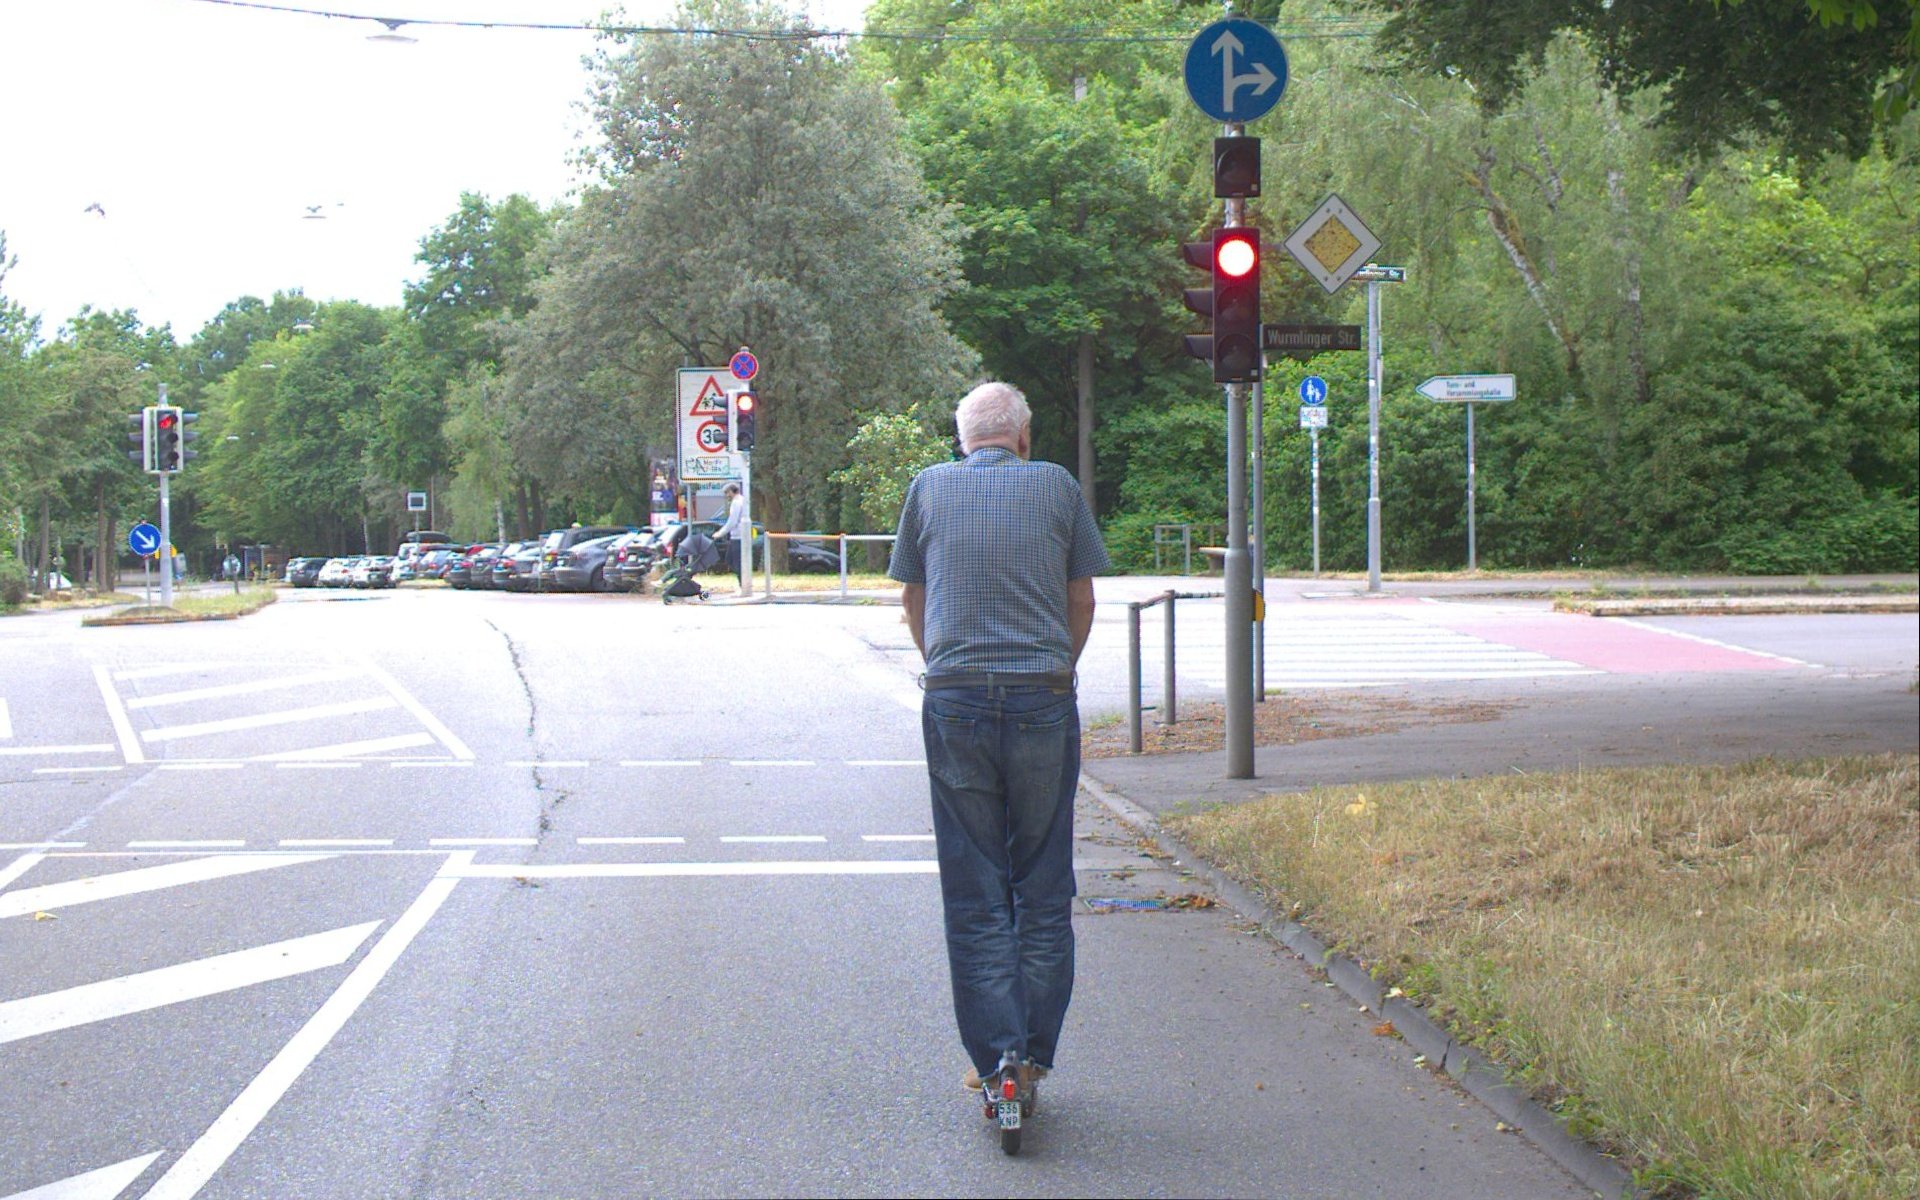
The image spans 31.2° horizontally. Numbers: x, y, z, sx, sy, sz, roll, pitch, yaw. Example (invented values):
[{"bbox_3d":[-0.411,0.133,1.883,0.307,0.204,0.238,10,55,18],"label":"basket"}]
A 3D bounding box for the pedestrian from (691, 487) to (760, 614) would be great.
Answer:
[{"bbox_3d":[-3.499,-0.737,51.278,0.883,1.856,0.574,-2,1,-16],"label":"pedestrian"}]

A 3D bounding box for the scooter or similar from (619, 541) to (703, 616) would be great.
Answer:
[{"bbox_3d":[-4.440,-0.325,51.014,1.107,1.077,0.578,-2,1,-17],"label":"scooter or similar"}]

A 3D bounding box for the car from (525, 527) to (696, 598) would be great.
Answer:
[{"bbox_3d":[-8.768,-0.942,86.240,3.841,1.605,1.728,-3,2,-24],"label":"car"}]

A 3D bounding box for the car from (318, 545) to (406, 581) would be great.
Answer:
[{"bbox_3d":[-28.719,-1.778,165.115,3.841,1.605,1.728,-3,2,-24],"label":"car"}]

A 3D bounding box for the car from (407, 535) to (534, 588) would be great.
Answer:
[{"bbox_3d":[-16.470,-1.299,115.715,3.841,1.605,1.728,-3,2,-24],"label":"car"}]

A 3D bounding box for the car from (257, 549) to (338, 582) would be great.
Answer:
[{"bbox_3d":[-35.068,-1.829,182.017,3.841,1.605,1.728,-3,2,-24],"label":"car"}]

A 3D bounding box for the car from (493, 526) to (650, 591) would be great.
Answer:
[{"bbox_3d":[-10.566,-1.128,93.553,3.841,1.605,1.728,-3,2,-24],"label":"car"}]

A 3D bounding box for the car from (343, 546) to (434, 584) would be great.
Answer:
[{"bbox_3d":[-26.700,-1.647,160.664,3.841,1.605,1.728,-3,2,-24],"label":"car"}]

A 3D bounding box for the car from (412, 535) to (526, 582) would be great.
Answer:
[{"bbox_3d":[-18.379,-1.570,128.646,3.841,1.605,1.728,-3,2,-24],"label":"car"}]

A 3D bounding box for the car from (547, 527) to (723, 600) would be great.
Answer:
[{"bbox_3d":[-7.915,-0.901,83.715,3.841,1.605,1.728,-3,2,-25],"label":"car"}]

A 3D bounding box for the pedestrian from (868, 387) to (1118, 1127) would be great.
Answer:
[{"bbox_3d":[0.082,0.383,8.662,0.572,1.807,0.420,-1,1,0],"label":"pedestrian"}]

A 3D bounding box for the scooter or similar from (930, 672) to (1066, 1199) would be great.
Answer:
[{"bbox_3d":[0.105,0.793,8.404,0.282,1.174,1.177,-1,1,2],"label":"scooter or similar"}]

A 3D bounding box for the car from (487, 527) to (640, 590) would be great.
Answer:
[{"bbox_3d":[-11.055,-1.166,95.956,3.841,1.605,1.728,-3,2,-24],"label":"car"}]
